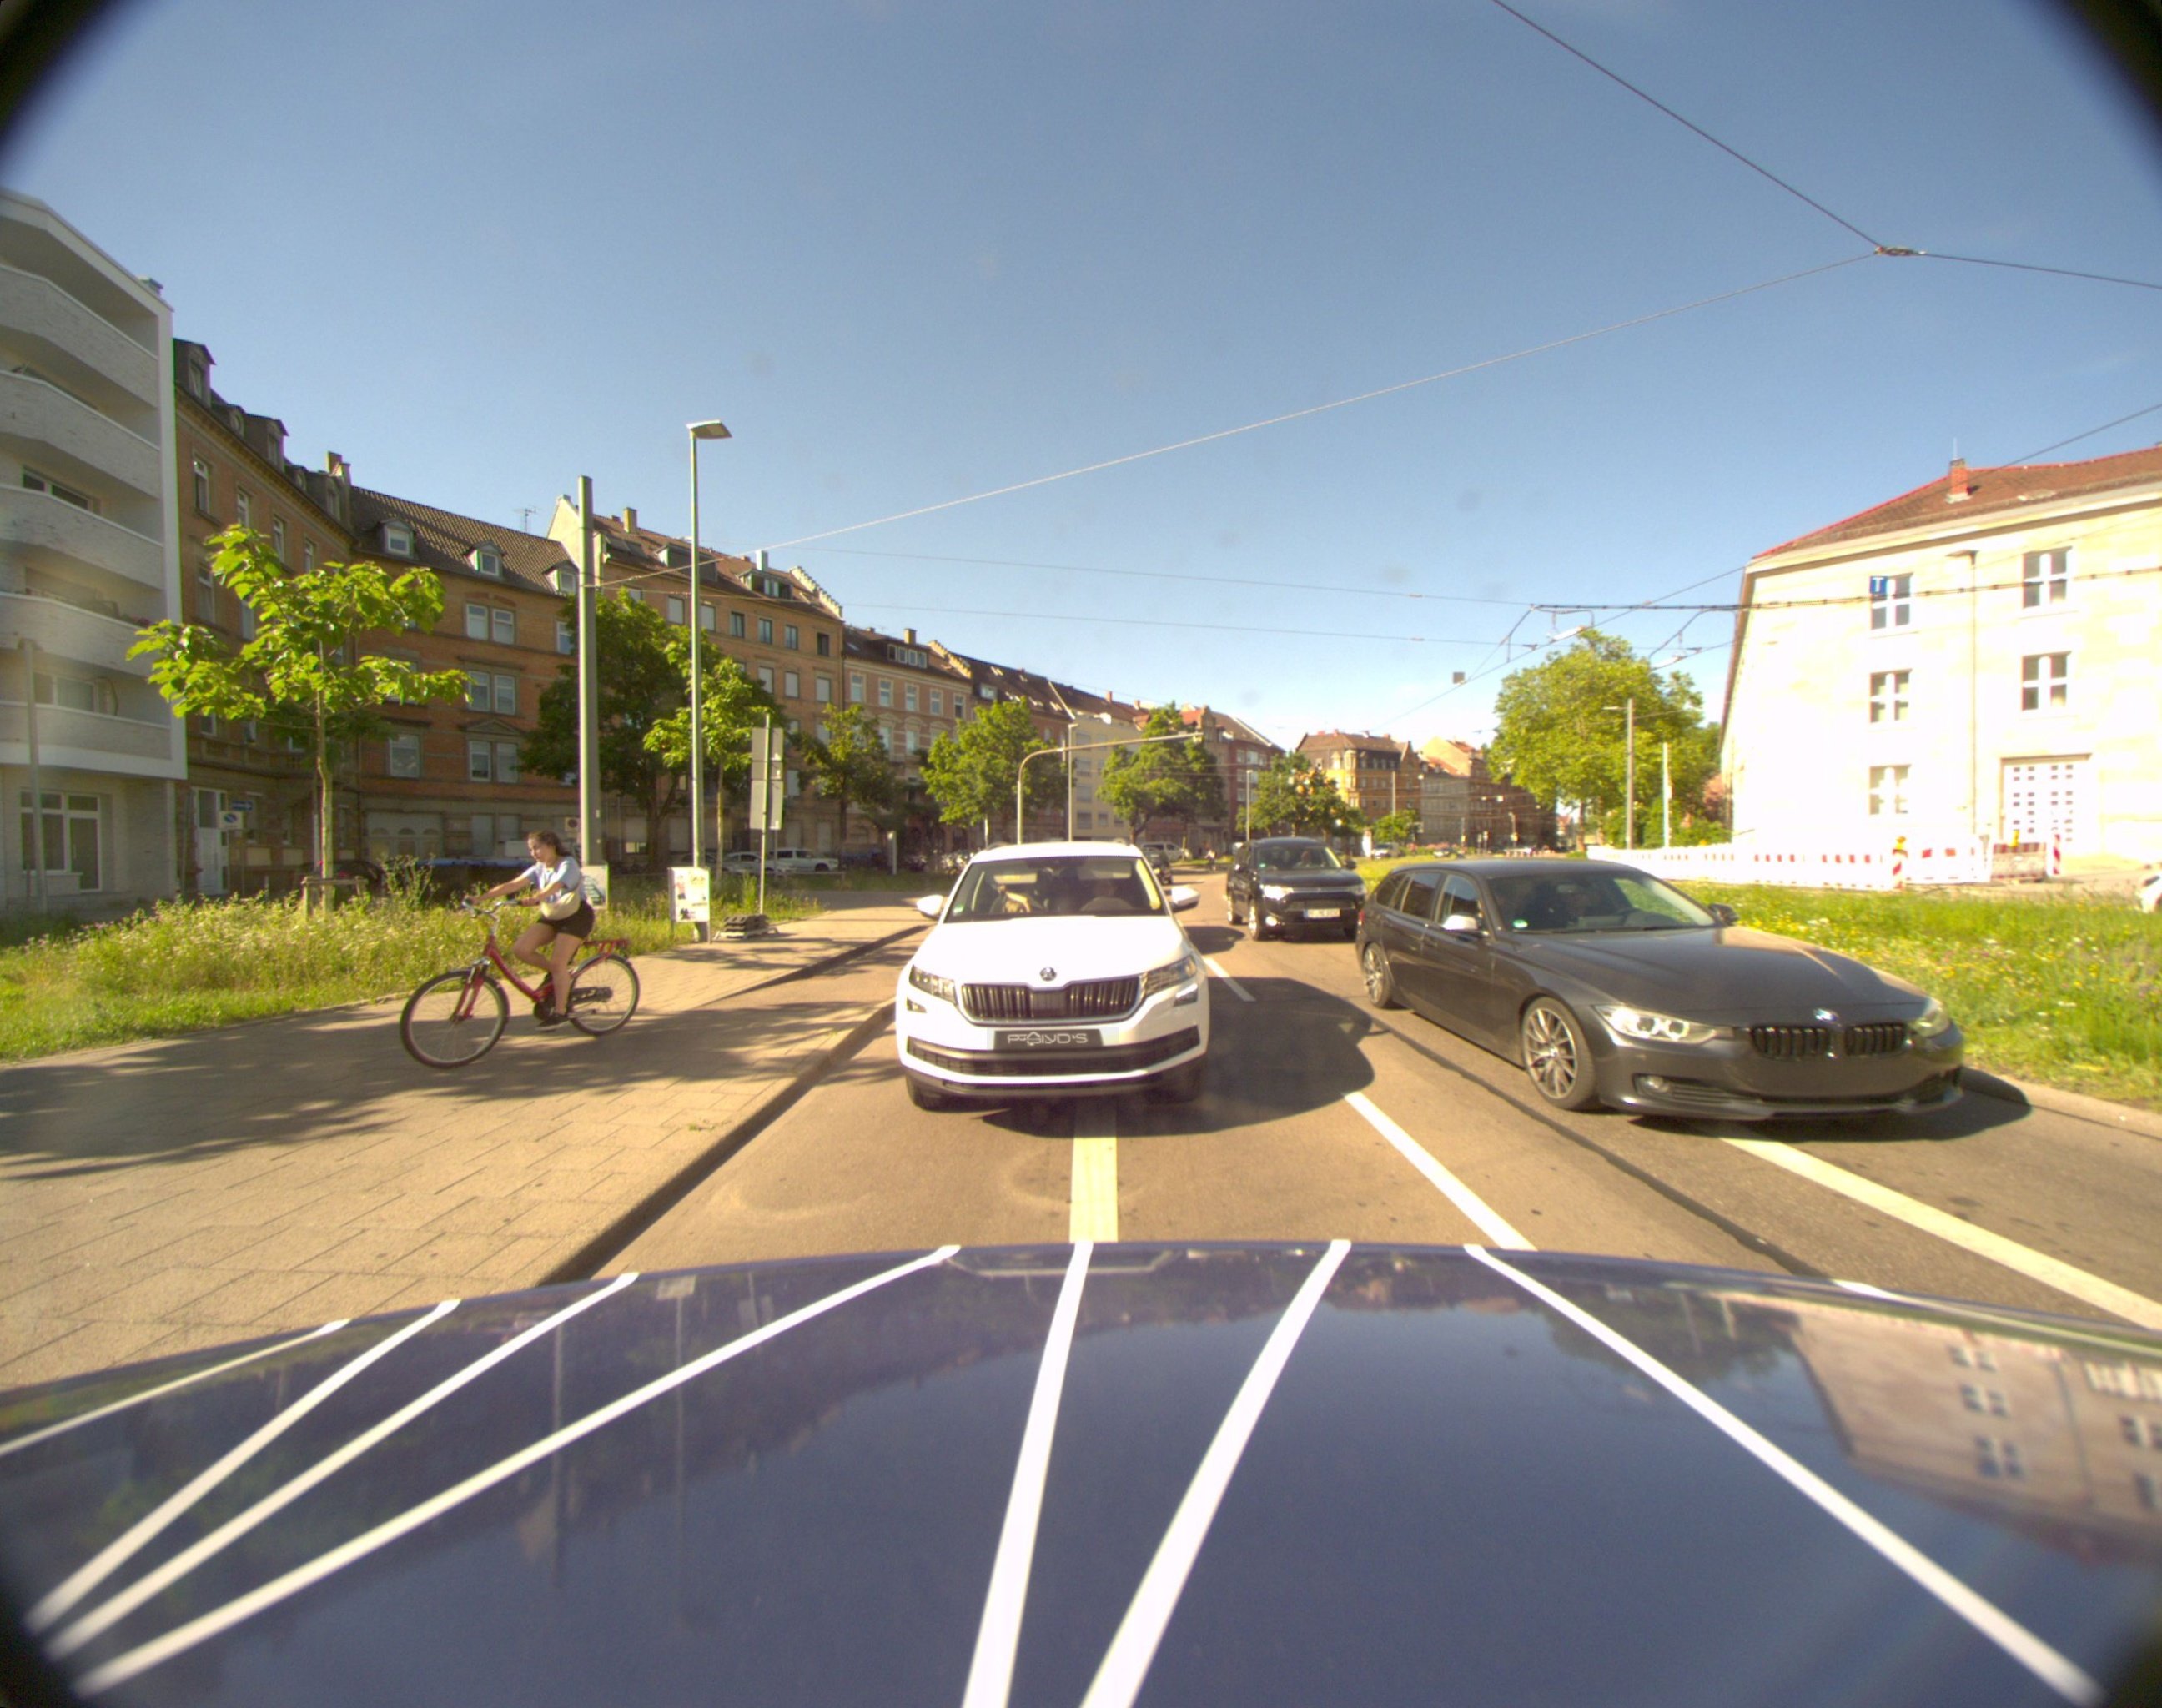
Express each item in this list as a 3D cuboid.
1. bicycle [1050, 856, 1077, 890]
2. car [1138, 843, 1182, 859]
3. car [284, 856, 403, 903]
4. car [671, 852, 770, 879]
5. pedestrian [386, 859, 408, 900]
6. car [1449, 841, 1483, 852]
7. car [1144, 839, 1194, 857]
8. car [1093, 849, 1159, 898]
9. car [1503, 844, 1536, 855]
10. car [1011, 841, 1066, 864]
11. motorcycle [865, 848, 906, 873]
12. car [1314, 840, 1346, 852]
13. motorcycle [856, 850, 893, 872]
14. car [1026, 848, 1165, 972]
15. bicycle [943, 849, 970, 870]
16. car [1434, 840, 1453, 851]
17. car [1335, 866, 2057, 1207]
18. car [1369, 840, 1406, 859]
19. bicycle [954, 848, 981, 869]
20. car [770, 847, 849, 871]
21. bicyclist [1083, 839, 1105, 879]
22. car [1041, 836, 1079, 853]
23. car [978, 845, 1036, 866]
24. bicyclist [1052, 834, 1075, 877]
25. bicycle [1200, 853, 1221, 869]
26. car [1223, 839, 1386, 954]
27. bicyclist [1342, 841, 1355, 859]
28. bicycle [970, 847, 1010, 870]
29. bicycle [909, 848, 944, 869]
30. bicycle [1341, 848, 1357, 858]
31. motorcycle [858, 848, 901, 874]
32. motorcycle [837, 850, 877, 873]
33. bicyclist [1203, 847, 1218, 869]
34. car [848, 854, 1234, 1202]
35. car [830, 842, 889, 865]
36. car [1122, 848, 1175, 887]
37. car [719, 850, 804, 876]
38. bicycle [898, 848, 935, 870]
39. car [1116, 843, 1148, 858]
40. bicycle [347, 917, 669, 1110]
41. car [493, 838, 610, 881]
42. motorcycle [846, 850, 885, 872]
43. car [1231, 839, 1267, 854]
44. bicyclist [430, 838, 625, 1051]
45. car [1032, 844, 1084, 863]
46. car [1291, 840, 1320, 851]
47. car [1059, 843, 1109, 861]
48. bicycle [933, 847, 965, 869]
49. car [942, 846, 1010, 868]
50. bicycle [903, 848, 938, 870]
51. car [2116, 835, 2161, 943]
[{"bbox_3d":[-0.700,0.762,30.617,0.715,1.319,1.750,1,0,11],"label":"bicycle"},{"bbox_3d":[7.122,-0.247,68.177,3.823,1.372,1.600,0,1,9],"label":"car"},{"bbox_3d":[-26.171,0.832,27.144,1.835,1.419,4.378,-1,1,-27],"label":"car"},{"bbox_3d":[-17.503,0.536,36.903,4.156,1.244,1.683,0,1,13],"label":"car"},{"bbox_3d":[-25.066,0.921,27.856,0.509,1.448,0.481,-3,2,-38],"label":"pedestrian"},{"bbox_3d":[56.386,-1.128,111.324,1.769,1.647,4.060,-1,1,-31],"label":"car"},{"bbox_3d":[8.193,-0.587,70.607,4.578,1.658,1.600,0,1,7],"label":"car"},{"bbox_3d":[1.682,0.620,26.947,1.838,1.543,4.151,0,1,10],"label":"car"},{"bbox_3d":[63.239,-0.653,109.589,4.058,1.647,1.770,1,2,34],"label":"car"},{"bbox_3d":[-3.111,-0.135,56.101,3.825,1.698,1.682,0,1,3],"label":"car"},{"bbox_3d":[-11.152,0.360,43.290,2.200,1.315,0.664,-2,1,18],"label":"motorcycle"},{"bbox_3d":[40.661,-1.315,124.242,4.578,1.864,2.004,-2,1,33],"label":"car"},{"bbox_3d":[-12.606,0.404,46.401,2.199,1.260,0.664,-2,1,24],"label":"motorcycle"},{"bbox_3d":[0.233,0.762,12.605,1.842,1.636,4.397,-2,0,1],"label":"car"},{"bbox_3d":[-7.689,0.343,46.757,0.664,1.260,2.199,-3,1,-36],"label":"bicycle"},{"bbox_3d":[48.485,-1.147,101.549,1.836,1.464,4.722,1,1,31],"label":"car"},{"bbox_3d":[3.476,0.849,5.591,1.741,1.359,4.426,-2,0,1],"label":"car"},{"bbox_3d":[33.357,-0.517,82.621,1.977,2.074,4.723,1,2,45],"label":"car"},{"bbox_3d":[-7.126,0.310,47.751,0.664,1.260,2.199,-3,1,-36],"label":"bicycle"},{"bbox_3d":[-14.684,0.259,41.191,3.700,1.244,1.540,0,1,2],"label":"car"},{"bbox_3d":[0.623,0.232,36.123,0.808,1.855,0.750,0,2,20],"label":"bicyclist"},{"bbox_3d":[-1.944,-0.940,71.662,1.547,1.578,3.607,1,2,41],"label":"car"},{"bbox_3d":[-5.231,0.089,53.962,3.822,1.398,1.683,0,1,9],"label":"car"},{"bbox_3d":[-0.697,0.067,30.704,0.715,1.715,1.095,1,1,12],"label":"bicyclist"},{"bbox_3d":[9.556,0.506,56.168,0.667,1.190,2.158,0,1,34],"label":"bicycle"},{"bbox_3d":[3.695,0.626,13.395,1.841,1.636,4.399,-2,0,5],"label":"car"},{"bbox_3d":[28.876,-0.428,82.017,1.199,2.002,0.847,-2,1,-45],"label":"bicyclist"},{"bbox_3d":[-5.479,0.269,45.736,2.207,1.260,0.662,-3,1,-25],"label":"bicycle"},{"bbox_3d":[-9.513,0.282,46.709,2.198,1.260,0.664,-2,1,32],"label":"bicycle"},{"bbox_3d":[28.916,-0.113,82.087,0.762,1.138,2.287,0,1,43],"label":"bicycle"},{"bbox_3d":[-11.182,0.377,42.204,2.200,1.322,0.663,-2,1,13],"label":"motorcycle"},{"bbox_3d":[-13.293,0.441,45.016,2.314,1.270,0.664,-2,1,24],"label":"motorcycle"},{"bbox_3d":[9.569,0.266,56.186,0.667,1.619,0.973,0,1,35],"label":"bicyclist"},{"bbox_3d":[-0.230,0.854,5.947,1.842,1.636,4.397,-2,0,-1],"label":"car"},{"bbox_3d":[-15.614,-0.053,53.668,1.547,1.578,3.709,1,2,41],"label":"car"},{"bbox_3d":[3.191,0.551,35.153,1.837,1.637,4.152,0,1,14],"label":"car"},{"bbox_3d":[-16.410,0.443,39.102,3.696,1.244,1.683,0,1,13],"label":"car"},{"bbox_3d":[-9.746,0.309,45.067,2.198,1.260,0.664,-2,1,30],"label":"bicycle"},{"bbox_3d":[5.464,-0.420,80.725,1.547,1.578,3.607,1,2,41],"label":"car"},{"bbox_3d":[-4.071,1.054,5.615,0.667,1.065,1.823,1,-1,18],"label":"bicycle"},{"bbox_3d":[-27.121,0.221,39.006,2.047,2.026,4.510,1,2,41],"label":"car"},{"bbox_3d":[-12.944,0.418,45.621,2.314,1.276,0.664,-2,1,24],"label":"motorcycle"},{"bbox_3d":[18.690,-0.819,84.656,3.823,1.581,1.600,0,1,6],"label":"car"},{"bbox_3d":[-4.077,0.621,5.655,0.667,1.427,0.942,0,-1,19],"label":"bicyclist"},{"bbox_3d":[-1.779,-0.052,58.709,3.823,1.398,1.600,0,1,6],"label":"car"},{"bbox_3d":[38.120,-1.468,129.230,4.336,1.871,1.844,1,2,35],"label":"car"},{"bbox_3d":[0.256,-0.158,61.162,3.823,1.398,1.600,0,1,6],"label":"car"},{"bbox_3d":[-7.732,0.242,44.515,0.664,1.260,2.198,-3,1,-45],"label":"bicycle"},{"bbox_3d":[-7.046,0.177,51.292,4.322,1.398,1.682,0,1,3],"label":"car"},{"bbox_3d":[-9.710,0.297,46.005,2.198,1.260,0.664,-2,1,32],"label":"bicycle"},{"bbox_3d":[17.447,0.515,10.021,1.825,1.636,4.180,-1,0,-3],"label":"car"}]
